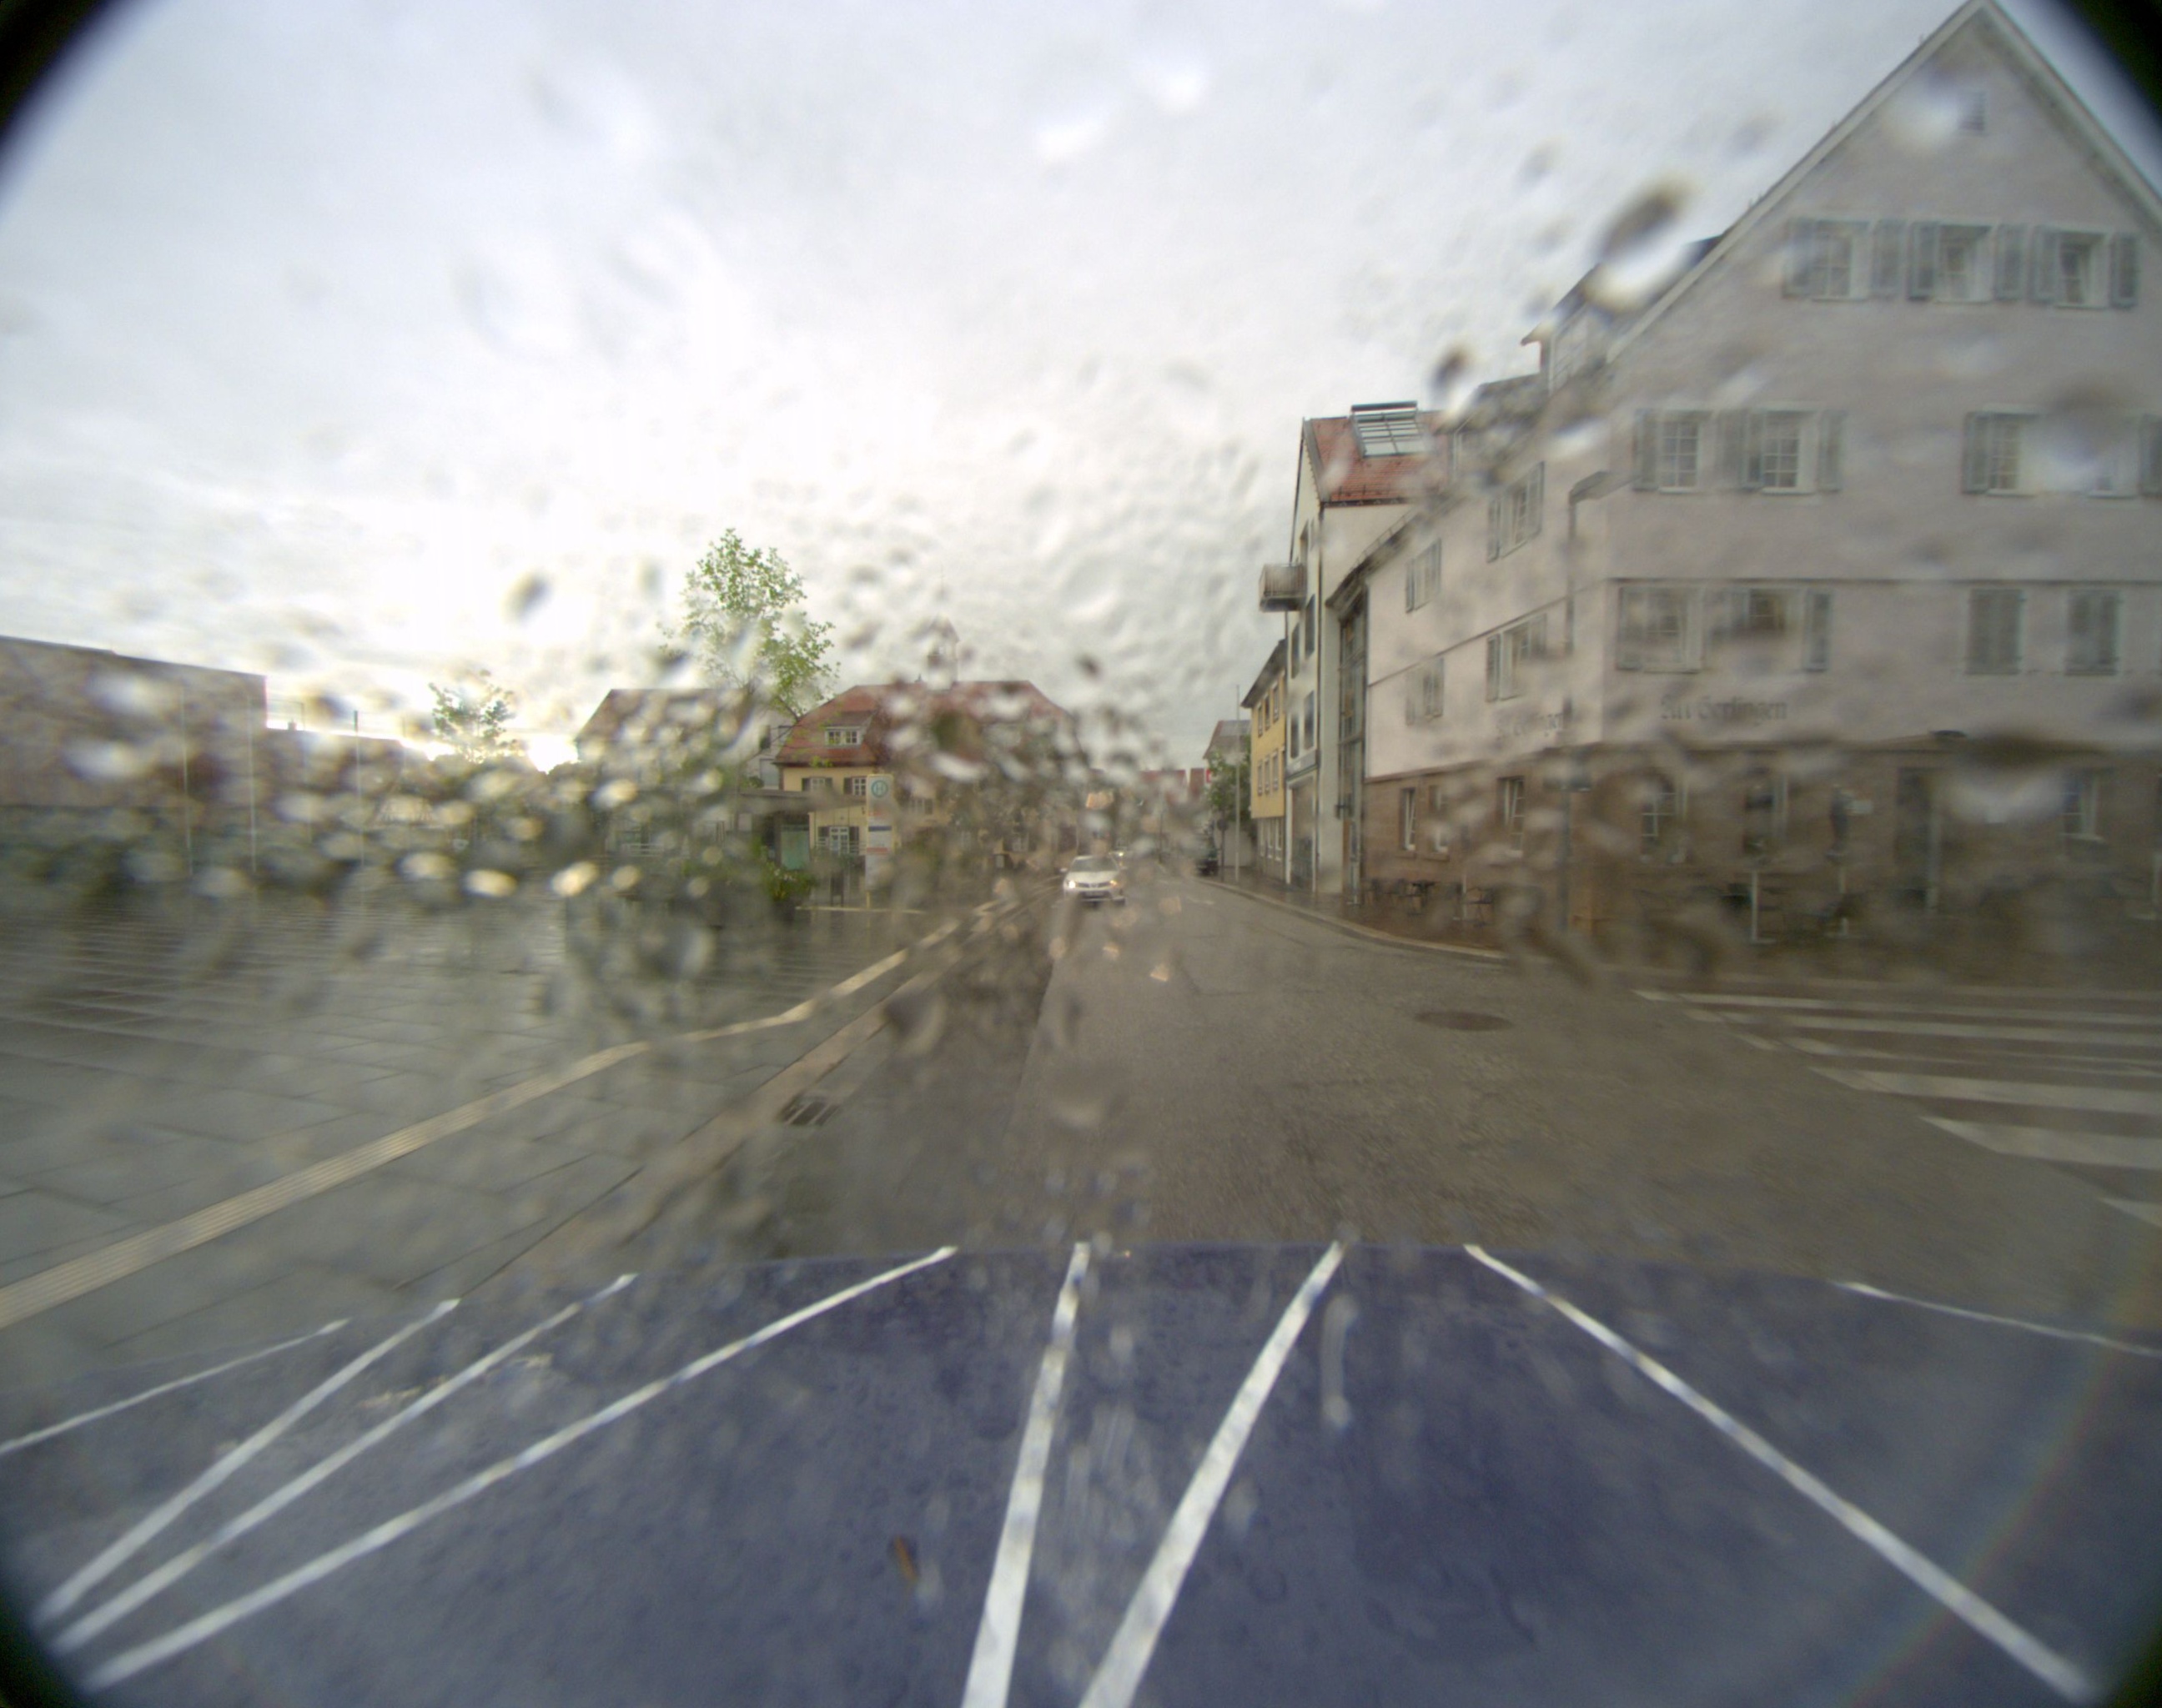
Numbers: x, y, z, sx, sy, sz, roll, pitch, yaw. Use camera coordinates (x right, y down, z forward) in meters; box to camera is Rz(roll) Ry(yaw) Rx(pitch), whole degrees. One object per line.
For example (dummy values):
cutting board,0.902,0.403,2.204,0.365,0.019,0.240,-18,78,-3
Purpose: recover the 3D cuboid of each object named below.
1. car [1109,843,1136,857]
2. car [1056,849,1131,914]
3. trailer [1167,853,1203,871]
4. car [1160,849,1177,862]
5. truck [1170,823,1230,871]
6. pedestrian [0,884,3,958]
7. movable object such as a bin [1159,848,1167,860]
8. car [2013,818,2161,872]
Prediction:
car,4.581,-0.486,84.033,1.865,1.452,4.005,2,2,20
car,0.471,0.711,22.117,1.867,1.578,4.615,-1,1,5
trailer,6.588,0.526,48.583,1.857,1.118,3.020,0,-1,-1
car,10.544,0.161,91.231,1.805,1.434,4.002,-1,1,9
truck,6.740,-0.316,43.811,2.405,2.579,6.483,0,-1,0
pedestrian,-25.115,1.013,17.022,1.054,2.669,0.833,2,2,22
movable object such as a bin,8.208,-0.006,76.034,0.697,1.071,0.645,-2,2,6
car,32.956,-0.303,24.305,1.828,1.612,3.891,1,2,10
